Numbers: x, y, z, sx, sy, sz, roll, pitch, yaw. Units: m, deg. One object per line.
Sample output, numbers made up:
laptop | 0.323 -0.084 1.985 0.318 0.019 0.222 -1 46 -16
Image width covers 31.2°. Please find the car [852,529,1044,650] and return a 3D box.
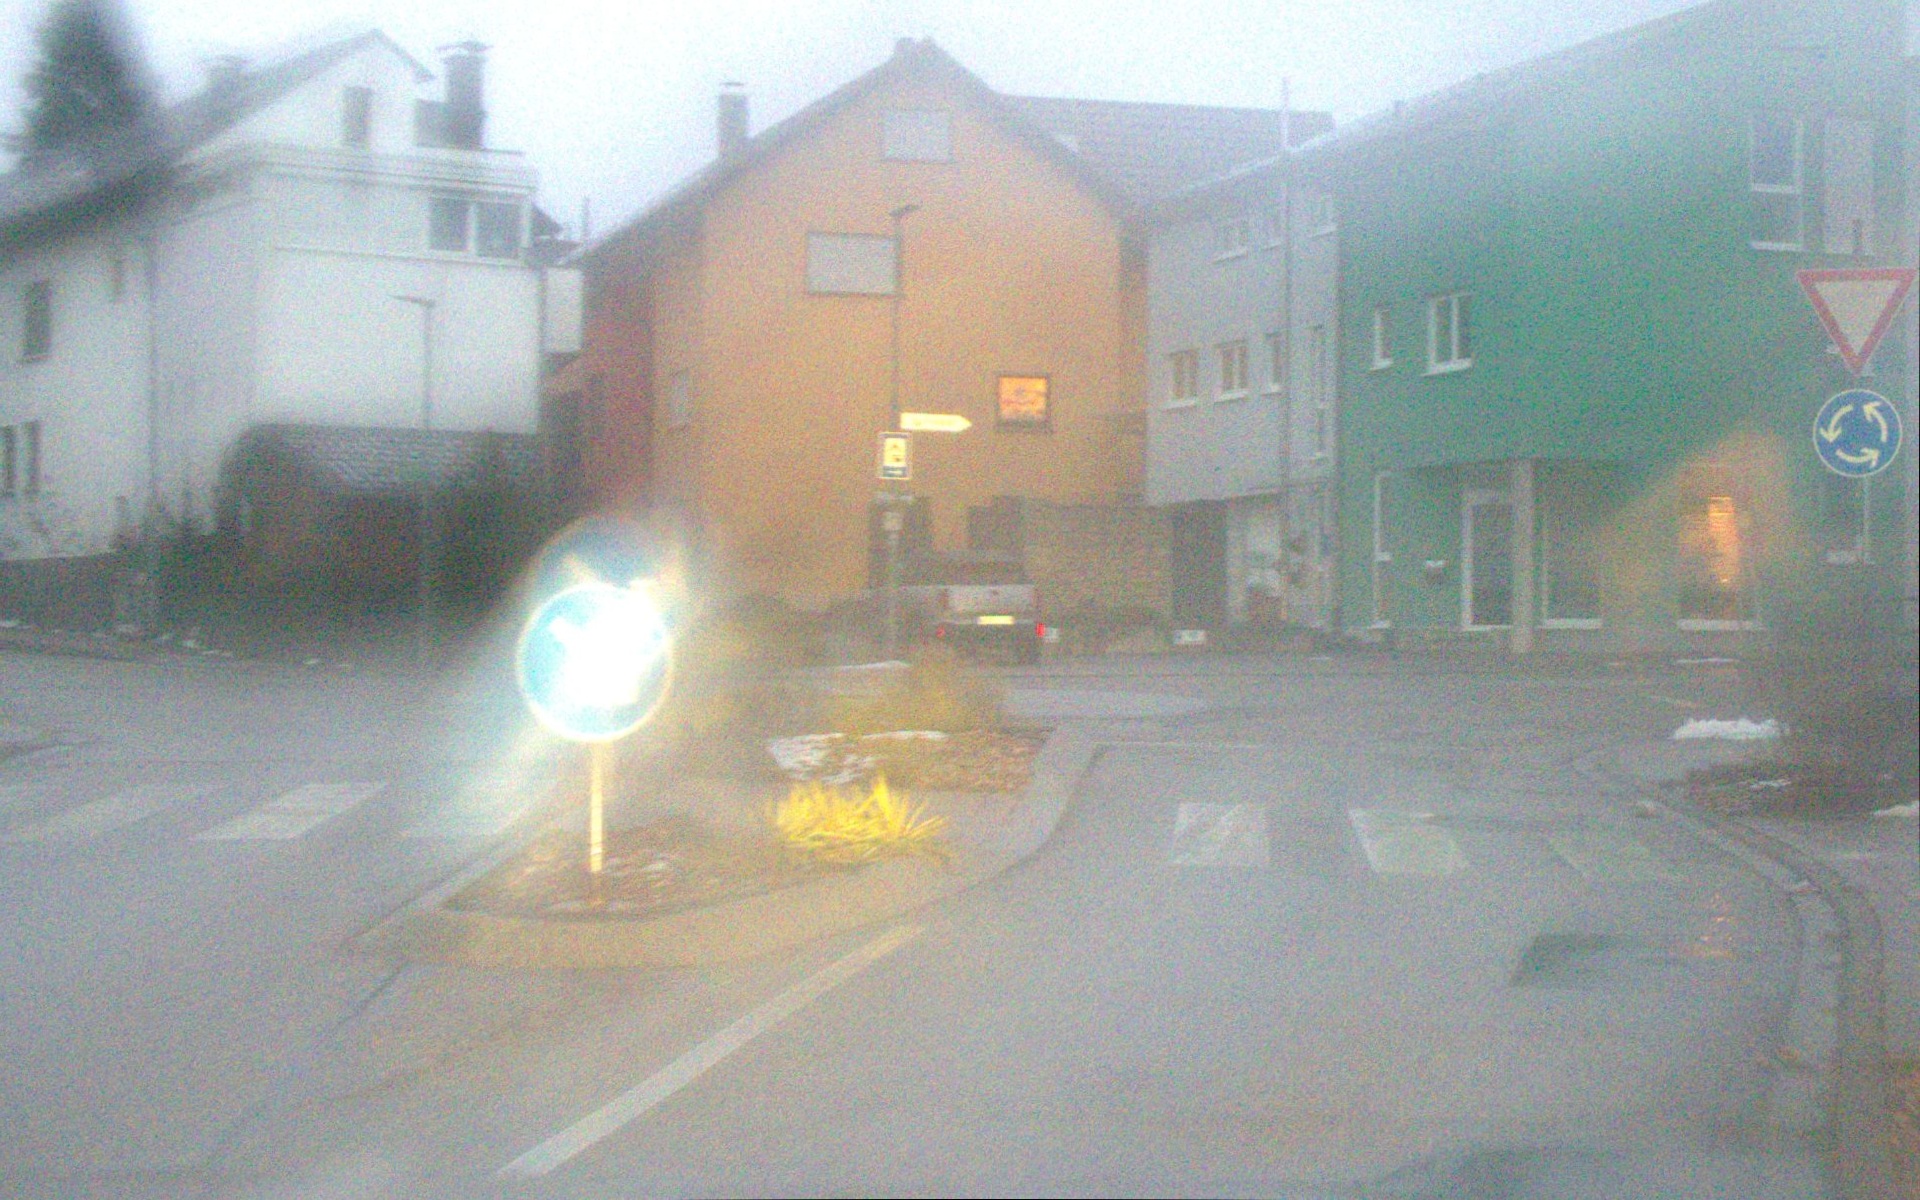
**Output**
car | -0.221 -0.178 49.878 1.993 1.638 4.001 0 2 -12

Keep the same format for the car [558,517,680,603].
car | -6.875 -0.825 69.002 1.993 1.638 4.001 0 2 -12
